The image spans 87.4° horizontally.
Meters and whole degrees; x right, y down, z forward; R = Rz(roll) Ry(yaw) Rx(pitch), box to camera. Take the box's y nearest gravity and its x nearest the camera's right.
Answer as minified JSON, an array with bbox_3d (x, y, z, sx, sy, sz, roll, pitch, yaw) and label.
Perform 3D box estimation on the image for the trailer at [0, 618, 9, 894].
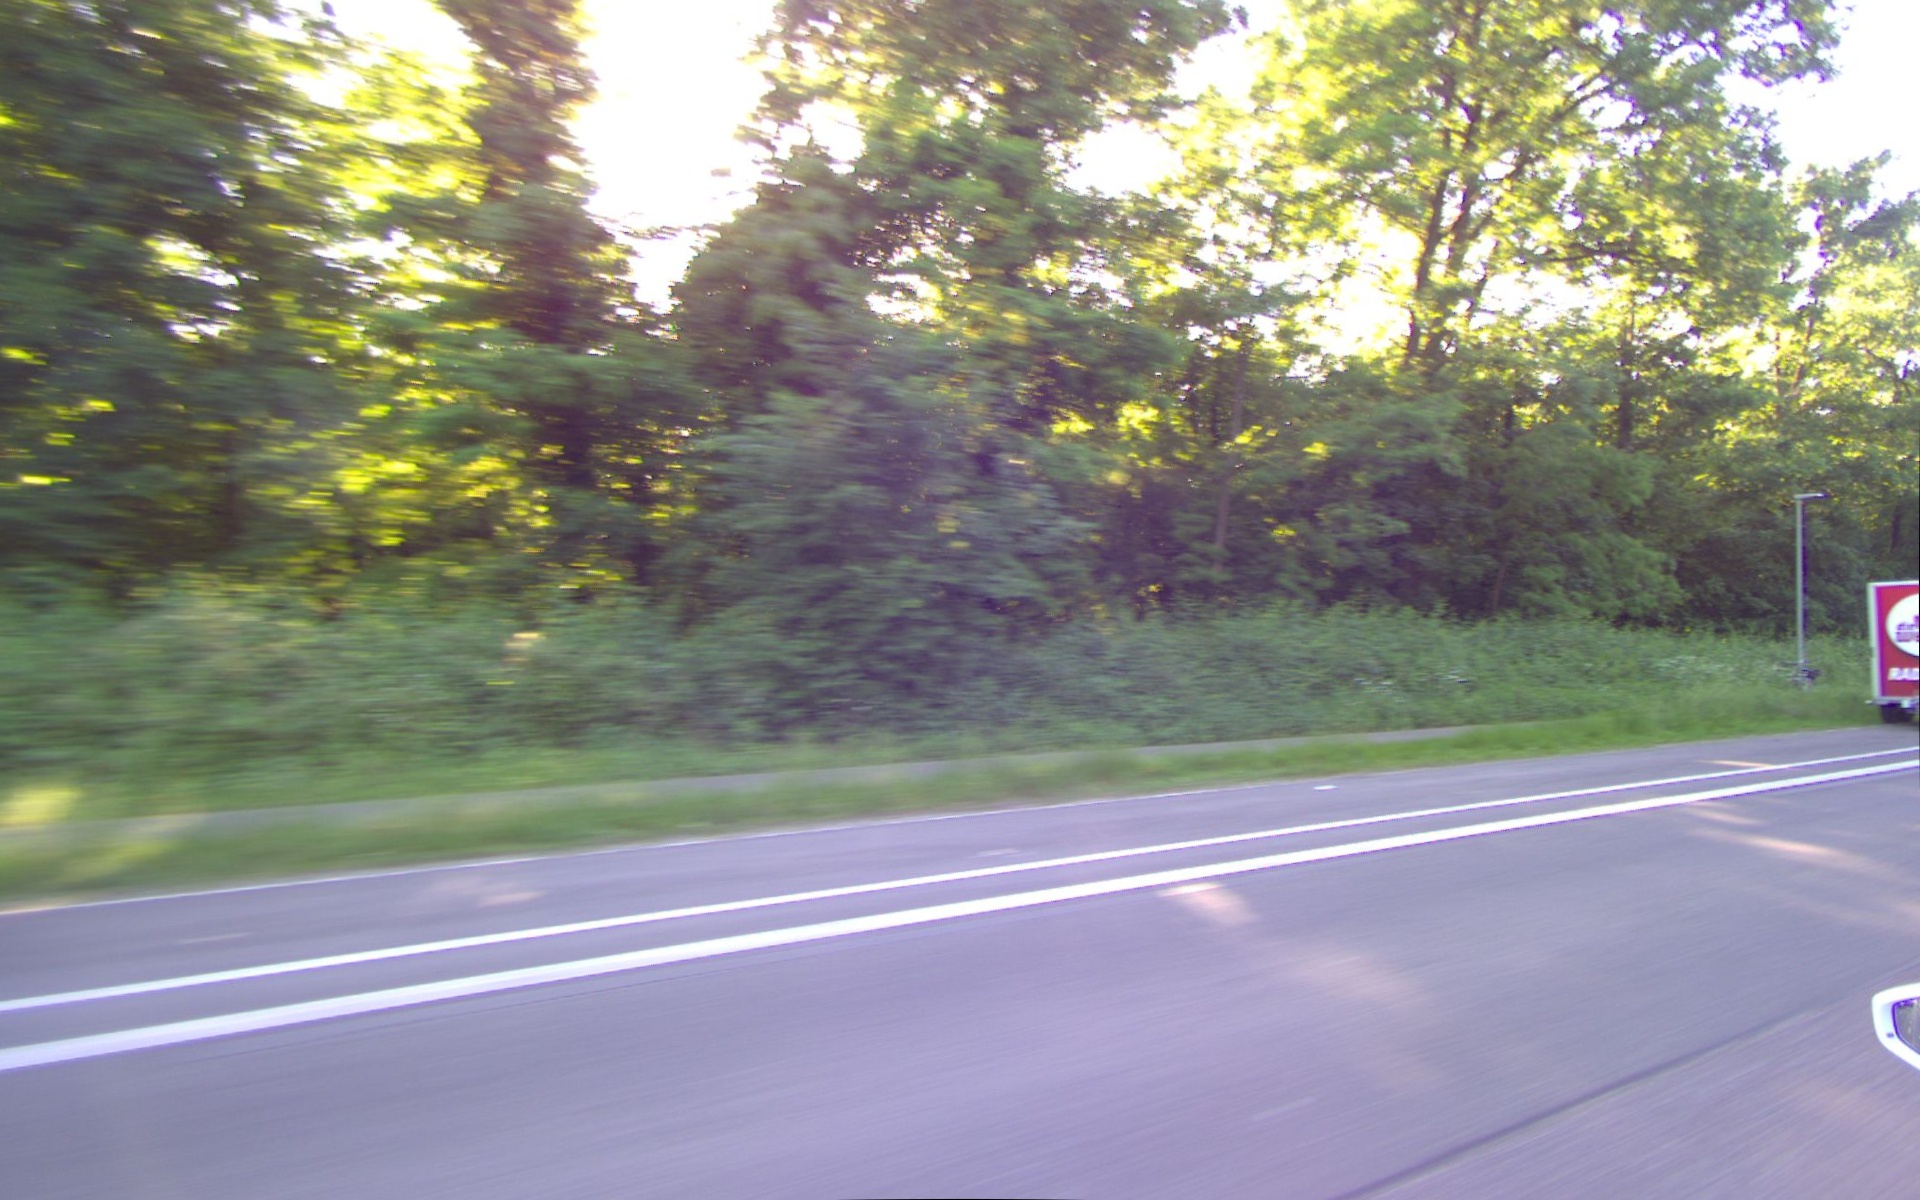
[{"bbox_3d":[-6.629,0.790,3.530,4.414,1.485,1.832,1,-1,-30],"label":"trailer"}]

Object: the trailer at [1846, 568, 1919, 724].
[{"bbox_3d":[18.072,0.833,18.108,4.037,2.656,1.984,1,-1,-30],"label":"trailer"}]
